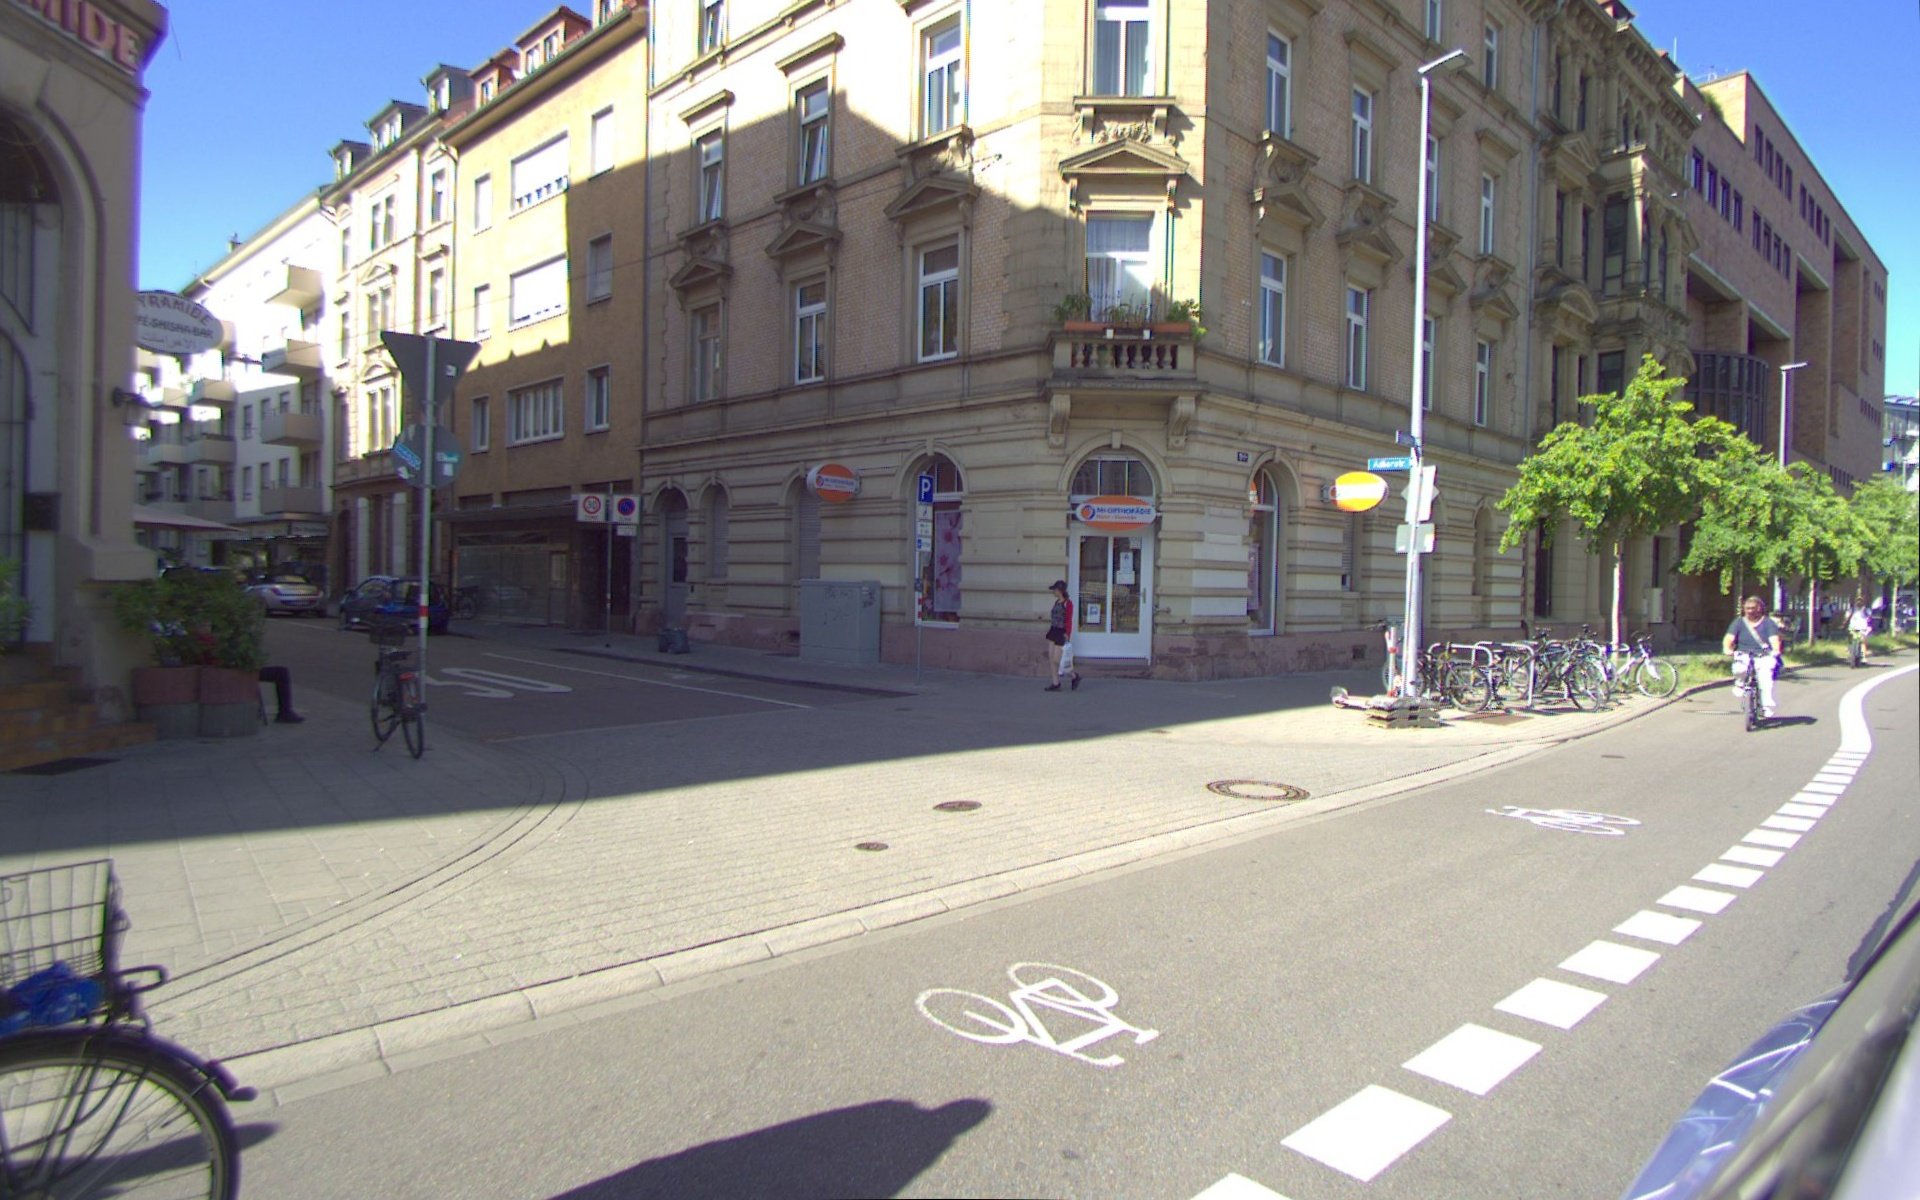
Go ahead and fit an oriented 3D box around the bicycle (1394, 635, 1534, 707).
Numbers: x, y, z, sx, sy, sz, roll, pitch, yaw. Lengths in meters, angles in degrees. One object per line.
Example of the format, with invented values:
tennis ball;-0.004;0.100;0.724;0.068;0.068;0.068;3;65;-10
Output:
bicycle;7.054;0.967;14.236;0.595;0.831;1.677;1;2;-33

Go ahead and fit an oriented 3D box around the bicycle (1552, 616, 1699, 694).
bicycle;11.513;0.918;17.548;1.993;1.106;0.835;5;3;40

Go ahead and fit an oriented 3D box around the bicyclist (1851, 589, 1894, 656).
bicyclist;24.291;0.592;26.932;0.892;1.751;0.684;1;-1;-38

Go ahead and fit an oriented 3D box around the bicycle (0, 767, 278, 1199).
bicycle;-2.001;0.903;1.342;1.761;1.106;0.558;0;-1;-42

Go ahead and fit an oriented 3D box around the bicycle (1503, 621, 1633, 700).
bicycle;9.530;0.921;15.919;0.595;1.058;1.605;1;3;-37

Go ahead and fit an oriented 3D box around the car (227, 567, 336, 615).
car;-21.348;-0.285;31.795;3.983;1.351;1.775;2;-1;40

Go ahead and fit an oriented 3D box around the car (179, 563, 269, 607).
car;-26.031;-0.543;35.764;3.757;1.450;1.776;2;1;40

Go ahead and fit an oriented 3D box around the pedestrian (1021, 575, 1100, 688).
pedestrian;1.428;0.432;14.450;0.907;1.561;0.713;1;1;-16

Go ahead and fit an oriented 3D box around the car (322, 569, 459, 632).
car;-14.659;-0.001;25.989;3.983;1.438;1.775;2;-1;40

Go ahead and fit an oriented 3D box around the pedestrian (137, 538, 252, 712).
pedestrian;-8.335;0.255;11.019;0.906;1.783;0.854;0;0;43

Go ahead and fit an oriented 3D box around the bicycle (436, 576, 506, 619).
bicycle;-14.431;-0.090;29.857;1.988;1.193;0.629;1;1;19

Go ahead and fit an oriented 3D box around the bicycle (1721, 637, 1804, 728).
bicycle;10.226;1.019;12.884;1.481;1.040;0.558;0;-1;-41

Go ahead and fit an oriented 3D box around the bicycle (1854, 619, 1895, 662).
bicycle;24.343;1.061;26.941;1.480;1.110;0.578;0;-1;-39

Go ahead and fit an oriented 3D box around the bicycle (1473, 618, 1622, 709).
bicycle;8.522;0.882;14.743;0.595;1.114;1.729;1;3;-37

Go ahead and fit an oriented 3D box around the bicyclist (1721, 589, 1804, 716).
bicyclist;10.247;0.644;12.921;0.893;1.557;0.658;1;-1;-41

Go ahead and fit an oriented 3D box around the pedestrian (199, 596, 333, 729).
pedestrian;-6.842;0.577;9.982;0.849;1.229;0.920;0;0;43

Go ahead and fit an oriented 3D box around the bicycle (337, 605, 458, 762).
bicycle;-5.022;0.687;8.973;0.641;1.186;1.823;5;-1;-36

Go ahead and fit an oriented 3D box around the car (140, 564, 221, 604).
car;-30.106;-0.645;39.053;3.757;1.450;1.776;2;1;40

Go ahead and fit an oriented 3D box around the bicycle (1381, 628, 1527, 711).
bicycle;6.650;0.907;13.700;0.595;0.955;1.677;1;1;-33

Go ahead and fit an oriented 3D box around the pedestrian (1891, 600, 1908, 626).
pedestrian;55.145;0.736;59.426;0.723;1.505;0.633;0;1;-41

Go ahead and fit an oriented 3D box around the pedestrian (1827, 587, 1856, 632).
pedestrian;38.598;0.405;44.293;1.087;1.906;0.789;0;1;-41

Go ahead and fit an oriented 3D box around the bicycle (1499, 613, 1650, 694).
bicycle;10.288;0.860;17.023;0.697;1.142;2.001;1;3;-39

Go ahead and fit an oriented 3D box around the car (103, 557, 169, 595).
car;-37.554;-1.110;46.114;3.758;1.686;1.775;2;1;42

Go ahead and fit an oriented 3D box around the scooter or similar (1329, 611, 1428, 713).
scooter or similar;5.384;0.769;13.059;0.411;1.204;1.115;1;1;-33

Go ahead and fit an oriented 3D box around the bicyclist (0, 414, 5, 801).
bicyclist;-1.947;0.517;1.402;0.853;1.733;0.780;1;-1;-41
